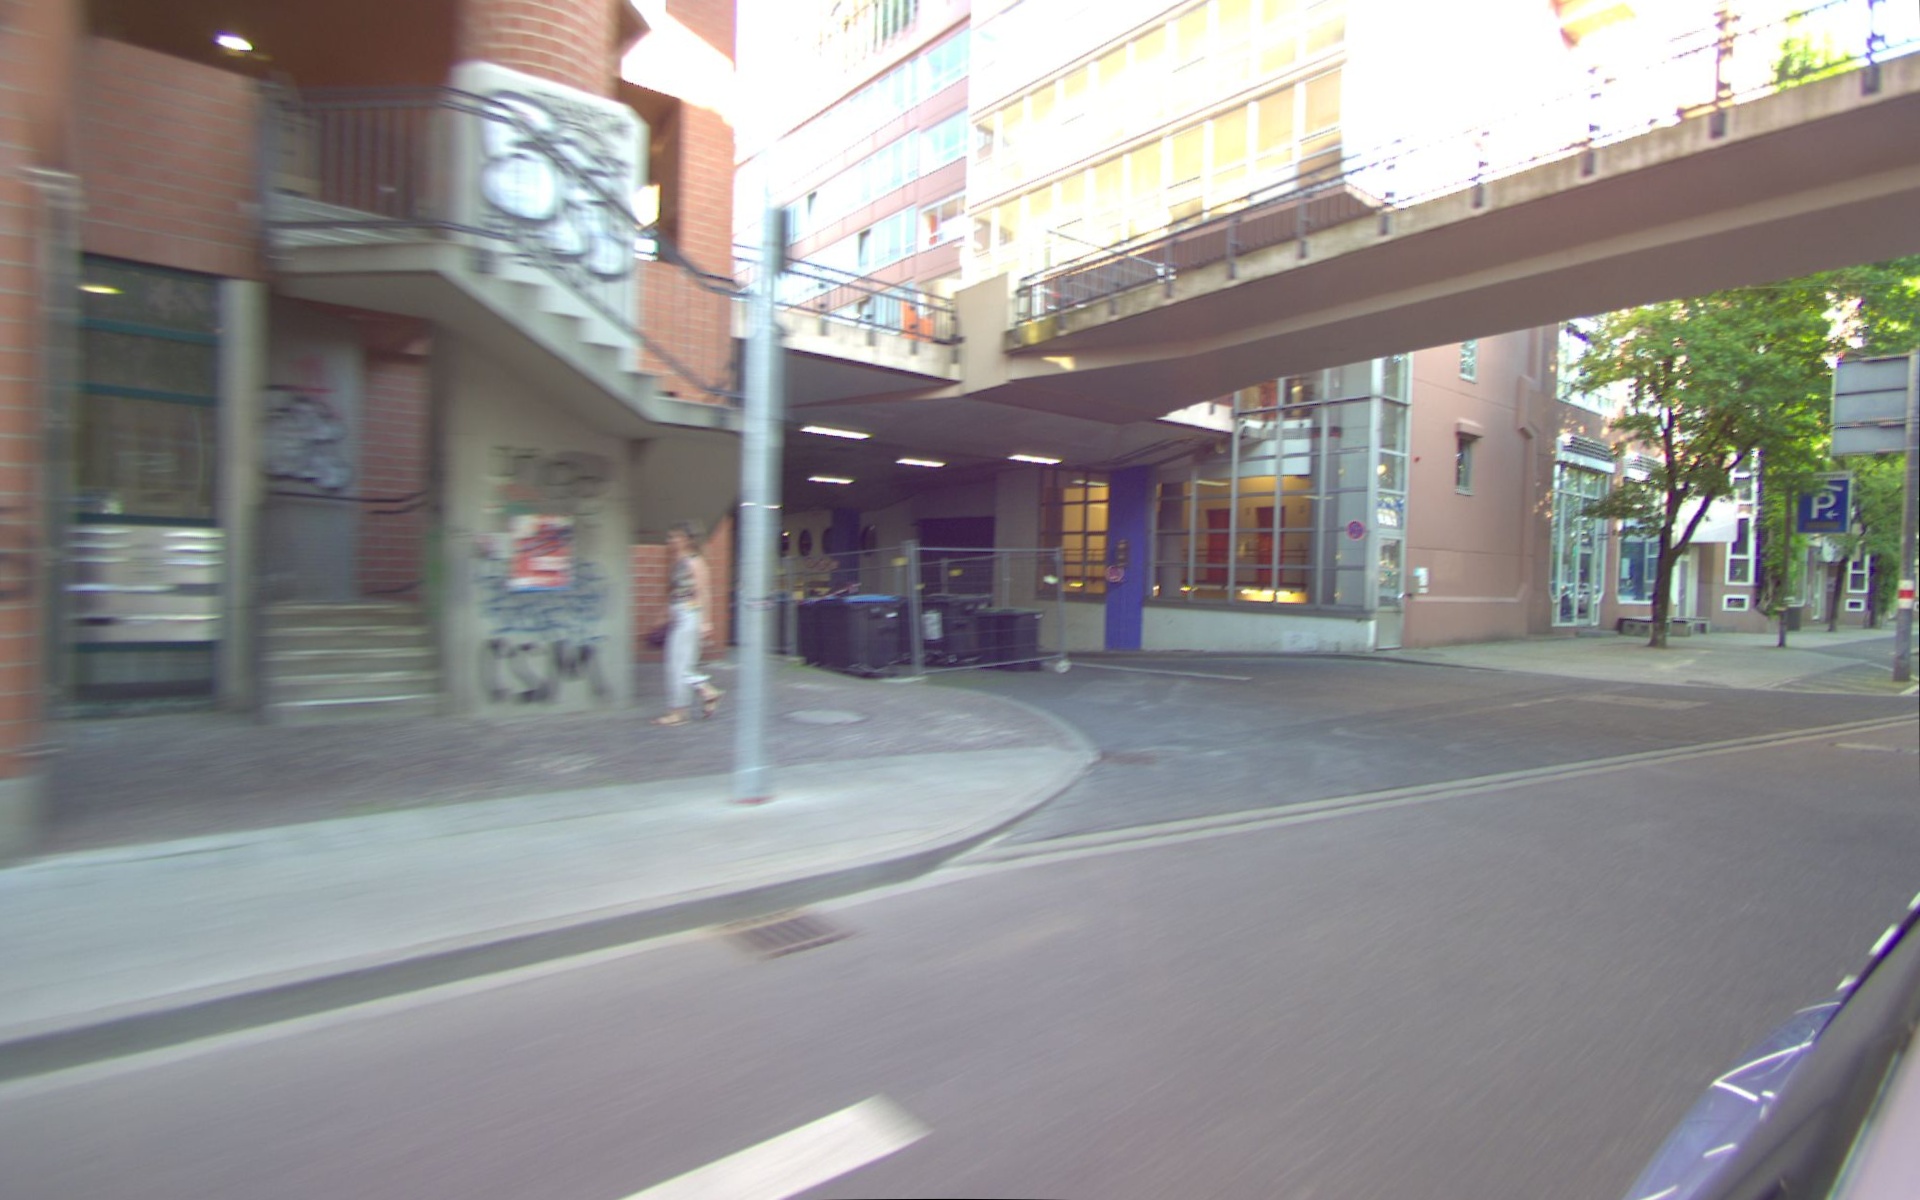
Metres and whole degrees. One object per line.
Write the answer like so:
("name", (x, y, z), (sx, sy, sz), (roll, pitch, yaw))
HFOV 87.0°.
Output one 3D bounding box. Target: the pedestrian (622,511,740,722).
("pedestrian", (-2.314, 0.118, 8.405), (0.764, 1.653, 0.570), (0, 1, -40))
